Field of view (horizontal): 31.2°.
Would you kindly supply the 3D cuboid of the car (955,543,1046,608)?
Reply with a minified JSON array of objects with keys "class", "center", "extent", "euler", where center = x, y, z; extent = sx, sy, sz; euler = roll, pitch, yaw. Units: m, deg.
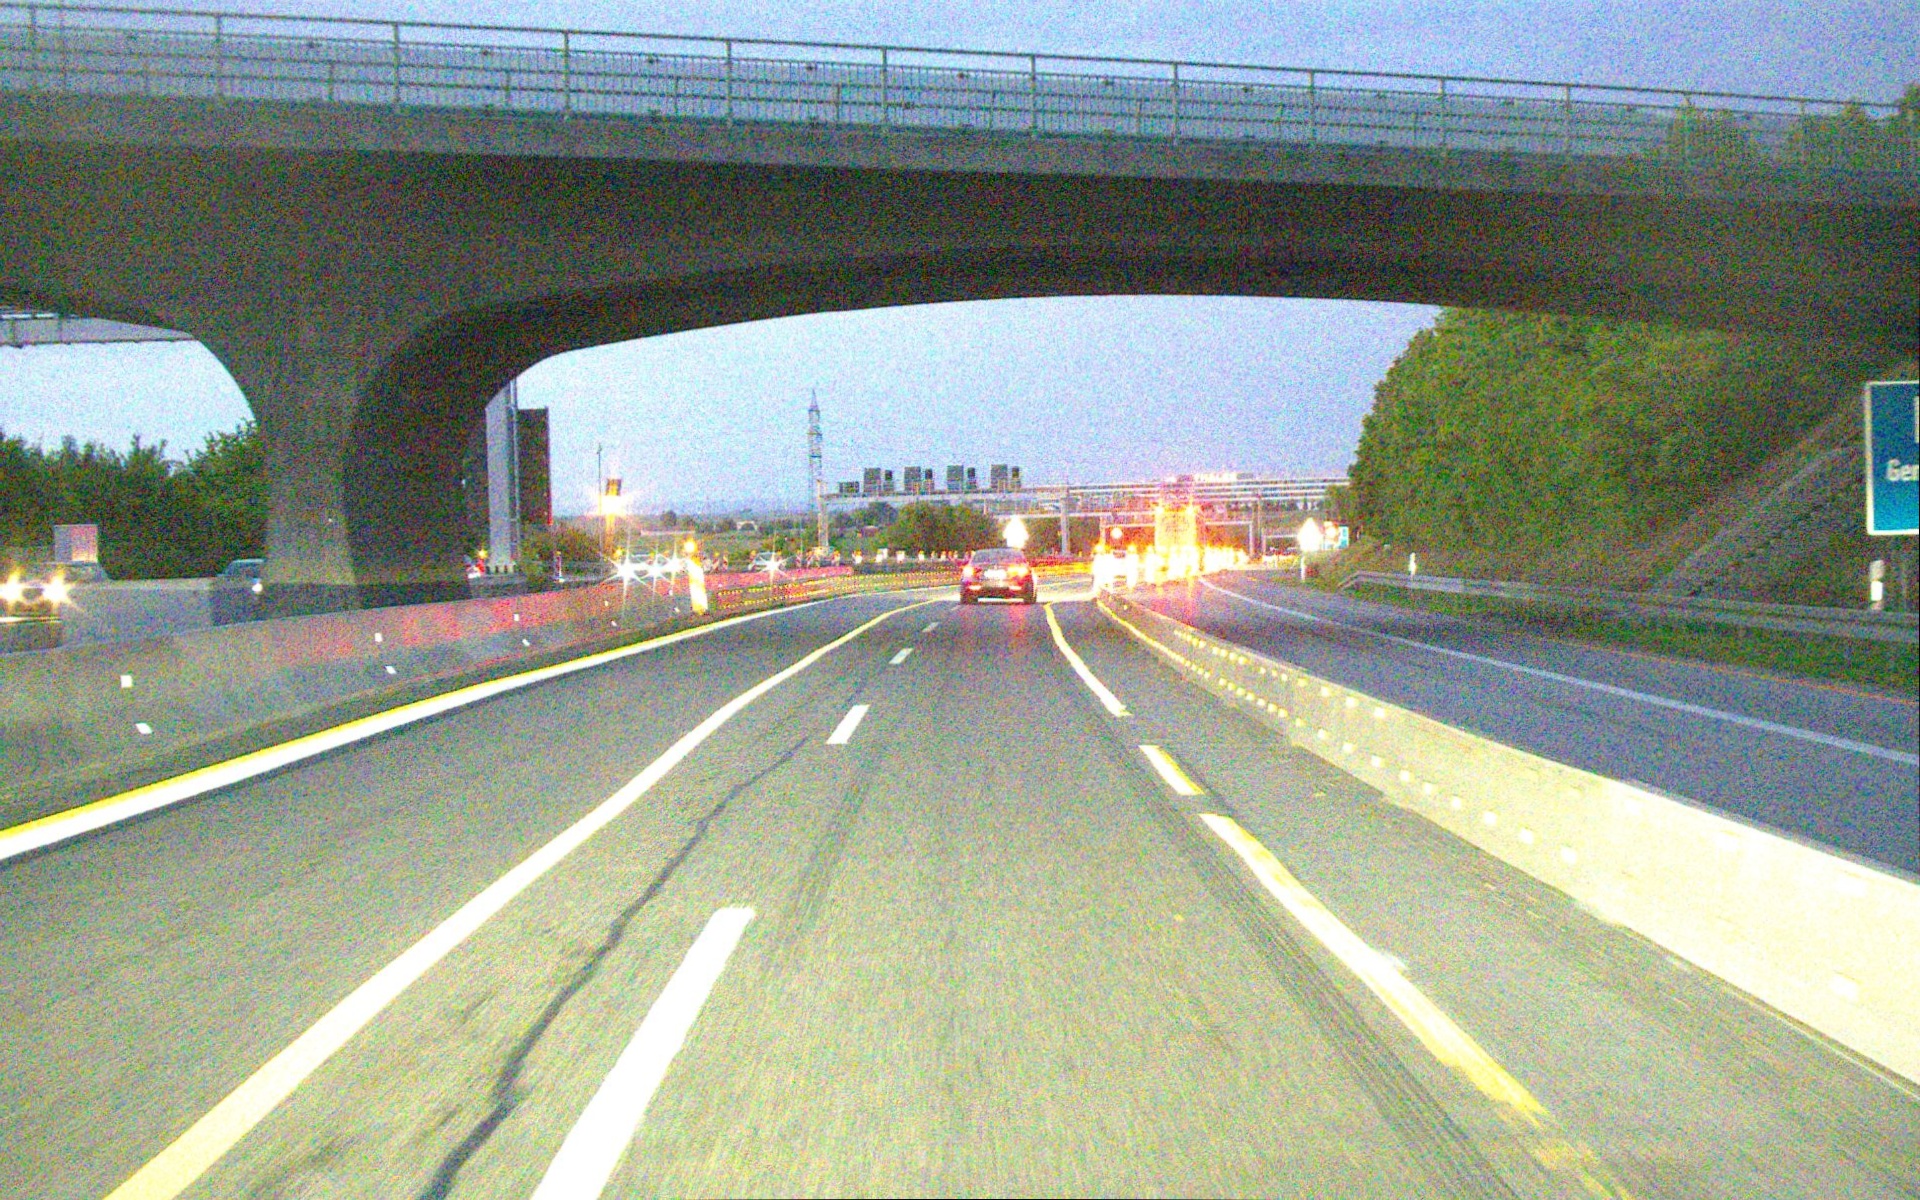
[{"class":"car","center":[1.054,-0.643,88.938],"extent":[2.265,1.616,4.000],"euler":[1,1,1]}]

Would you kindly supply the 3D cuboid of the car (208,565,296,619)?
[{"class":"car","center":[-19.284,-0.241,93.745],"extent":[1.627,1.401,3.520],"euler":[1,1,1]}]

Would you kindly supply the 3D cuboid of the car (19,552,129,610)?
[{"class":"car","center":[-23.075,-0.510,89.660],"extent":[1.993,1.415,4.001],"euler":[-1,1,-3]}]

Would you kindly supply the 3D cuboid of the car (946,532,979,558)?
[{"class":"car","center":[0.207,-4.042,252.778],"extent":[1.994,1.821,3.999],"euler":[1,1,5]}]

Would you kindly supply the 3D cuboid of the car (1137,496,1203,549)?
[{"class":"car","center":[13.733,-5.049,225.447],"extent":[3.605,3.384,8.015],"euler":[1,1,-1]}]

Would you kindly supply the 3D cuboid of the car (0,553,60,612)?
[{"class":"car","center":[-22.593,-0.413,80.588],"extent":[1.993,1.318,4.000],"euler":[-1,1,-1]}]

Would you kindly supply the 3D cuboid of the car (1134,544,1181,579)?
[{"class":"car","center":[8.499,-1.648,148.094],"extent":[1.972,1.432,4.000],"euler":[1,1,3]}]
